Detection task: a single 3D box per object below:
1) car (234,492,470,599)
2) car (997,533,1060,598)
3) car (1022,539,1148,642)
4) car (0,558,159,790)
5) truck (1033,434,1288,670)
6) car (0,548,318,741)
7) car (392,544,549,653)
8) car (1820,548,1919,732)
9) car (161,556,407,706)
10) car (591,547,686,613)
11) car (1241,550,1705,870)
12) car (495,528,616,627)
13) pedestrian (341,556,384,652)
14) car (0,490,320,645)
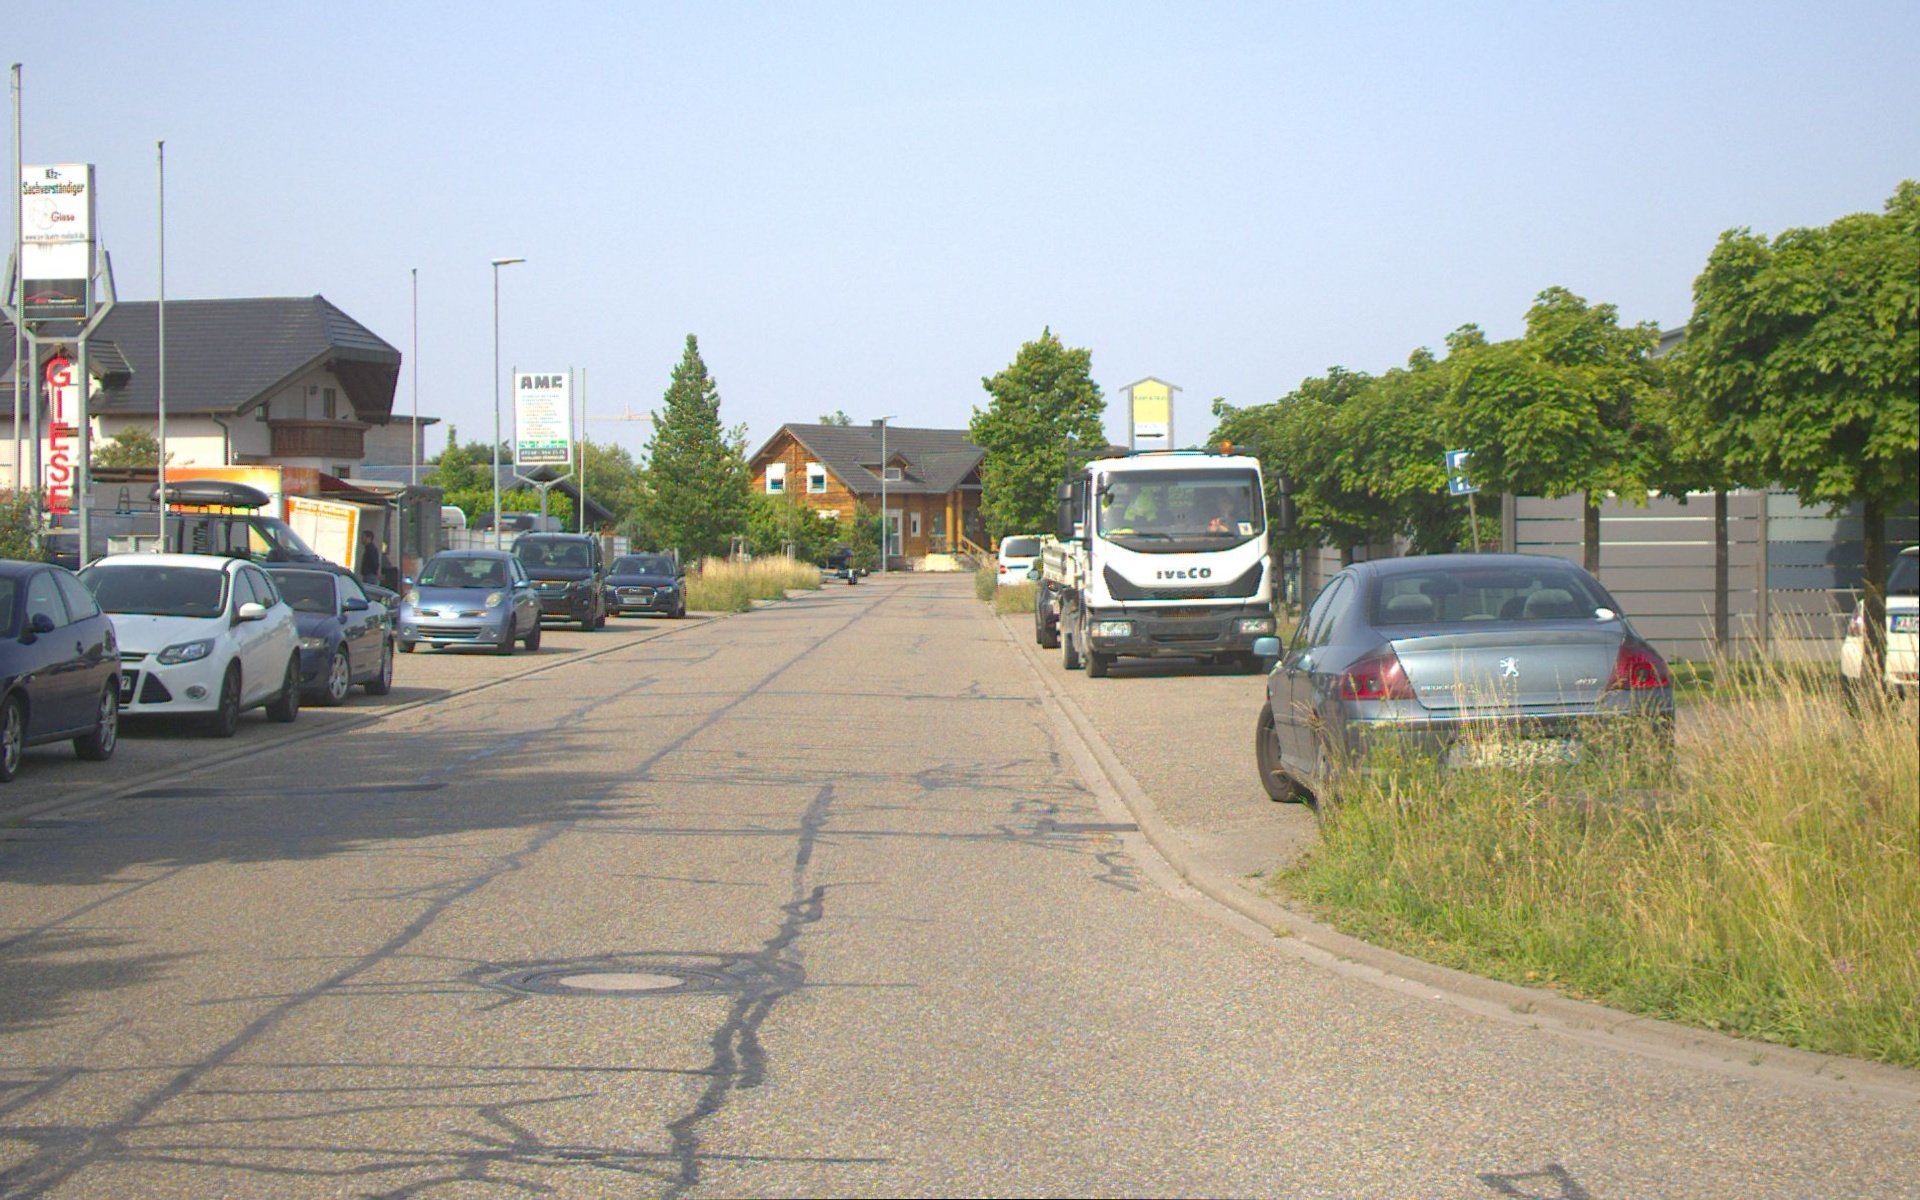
[{"bbox_3d":[-15.157,-1.349,85.750,5.162,2.577,2.574,0,1,21],"label":"car"},{"bbox_3d":[2.059,-1.065,104.286,1.837,1.917,3.756,-1,1,0],"label":"car"},{"bbox_3d":[1.921,-0.182,54.010,1.794,1.555,4.000,0,1,-1],"label":"car"},{"bbox_3d":[-6.840,0.448,23.697,1.578,1.438,3.963,2,1,2],"label":"car"},{"bbox_3d":[2.342,-0.595,42.242,2.359,2.672,6.512,0,1,-4],"label":"truck"},{"bbox_3d":[-6.676,0.319,29.046,1.683,1.464,4.254,2,1,0],"label":"car"},{"bbox_3d":[-7.210,-0.051,50.944,1.633,1.512,3.605,2,1,3],"label":"car"},{"bbox_3d":[8.617,0.275,27.118,3.687,1.375,1.687,-1,1,-39],"label":"car"},{"bbox_3d":[-6.807,0.268,35.025,1.633,1.382,4.369,2,1,0],"label":"car"},{"bbox_3d":[-7.235,-0.466,77.639,1.800,1.382,3.638,2,1,-1],"label":"car"},{"bbox_3d":[2.616,0.489,18.520,1.794,1.512,4.424,0,1,0],"label":"car"},{"bbox_3d":[-7.603,-0.446,64.962,1.800,1.768,4.203,2,1,-1],"label":"car"},{"bbox_3d":[-10.769,0.072,61.994,0.562,1.709,0.534,-1,1,-37],"label":"pedestrian"},{"bbox_3d":[-12.653,-0.519,54.391,4.627,2.408,2.000,0,1,2],"label":"car"}]
